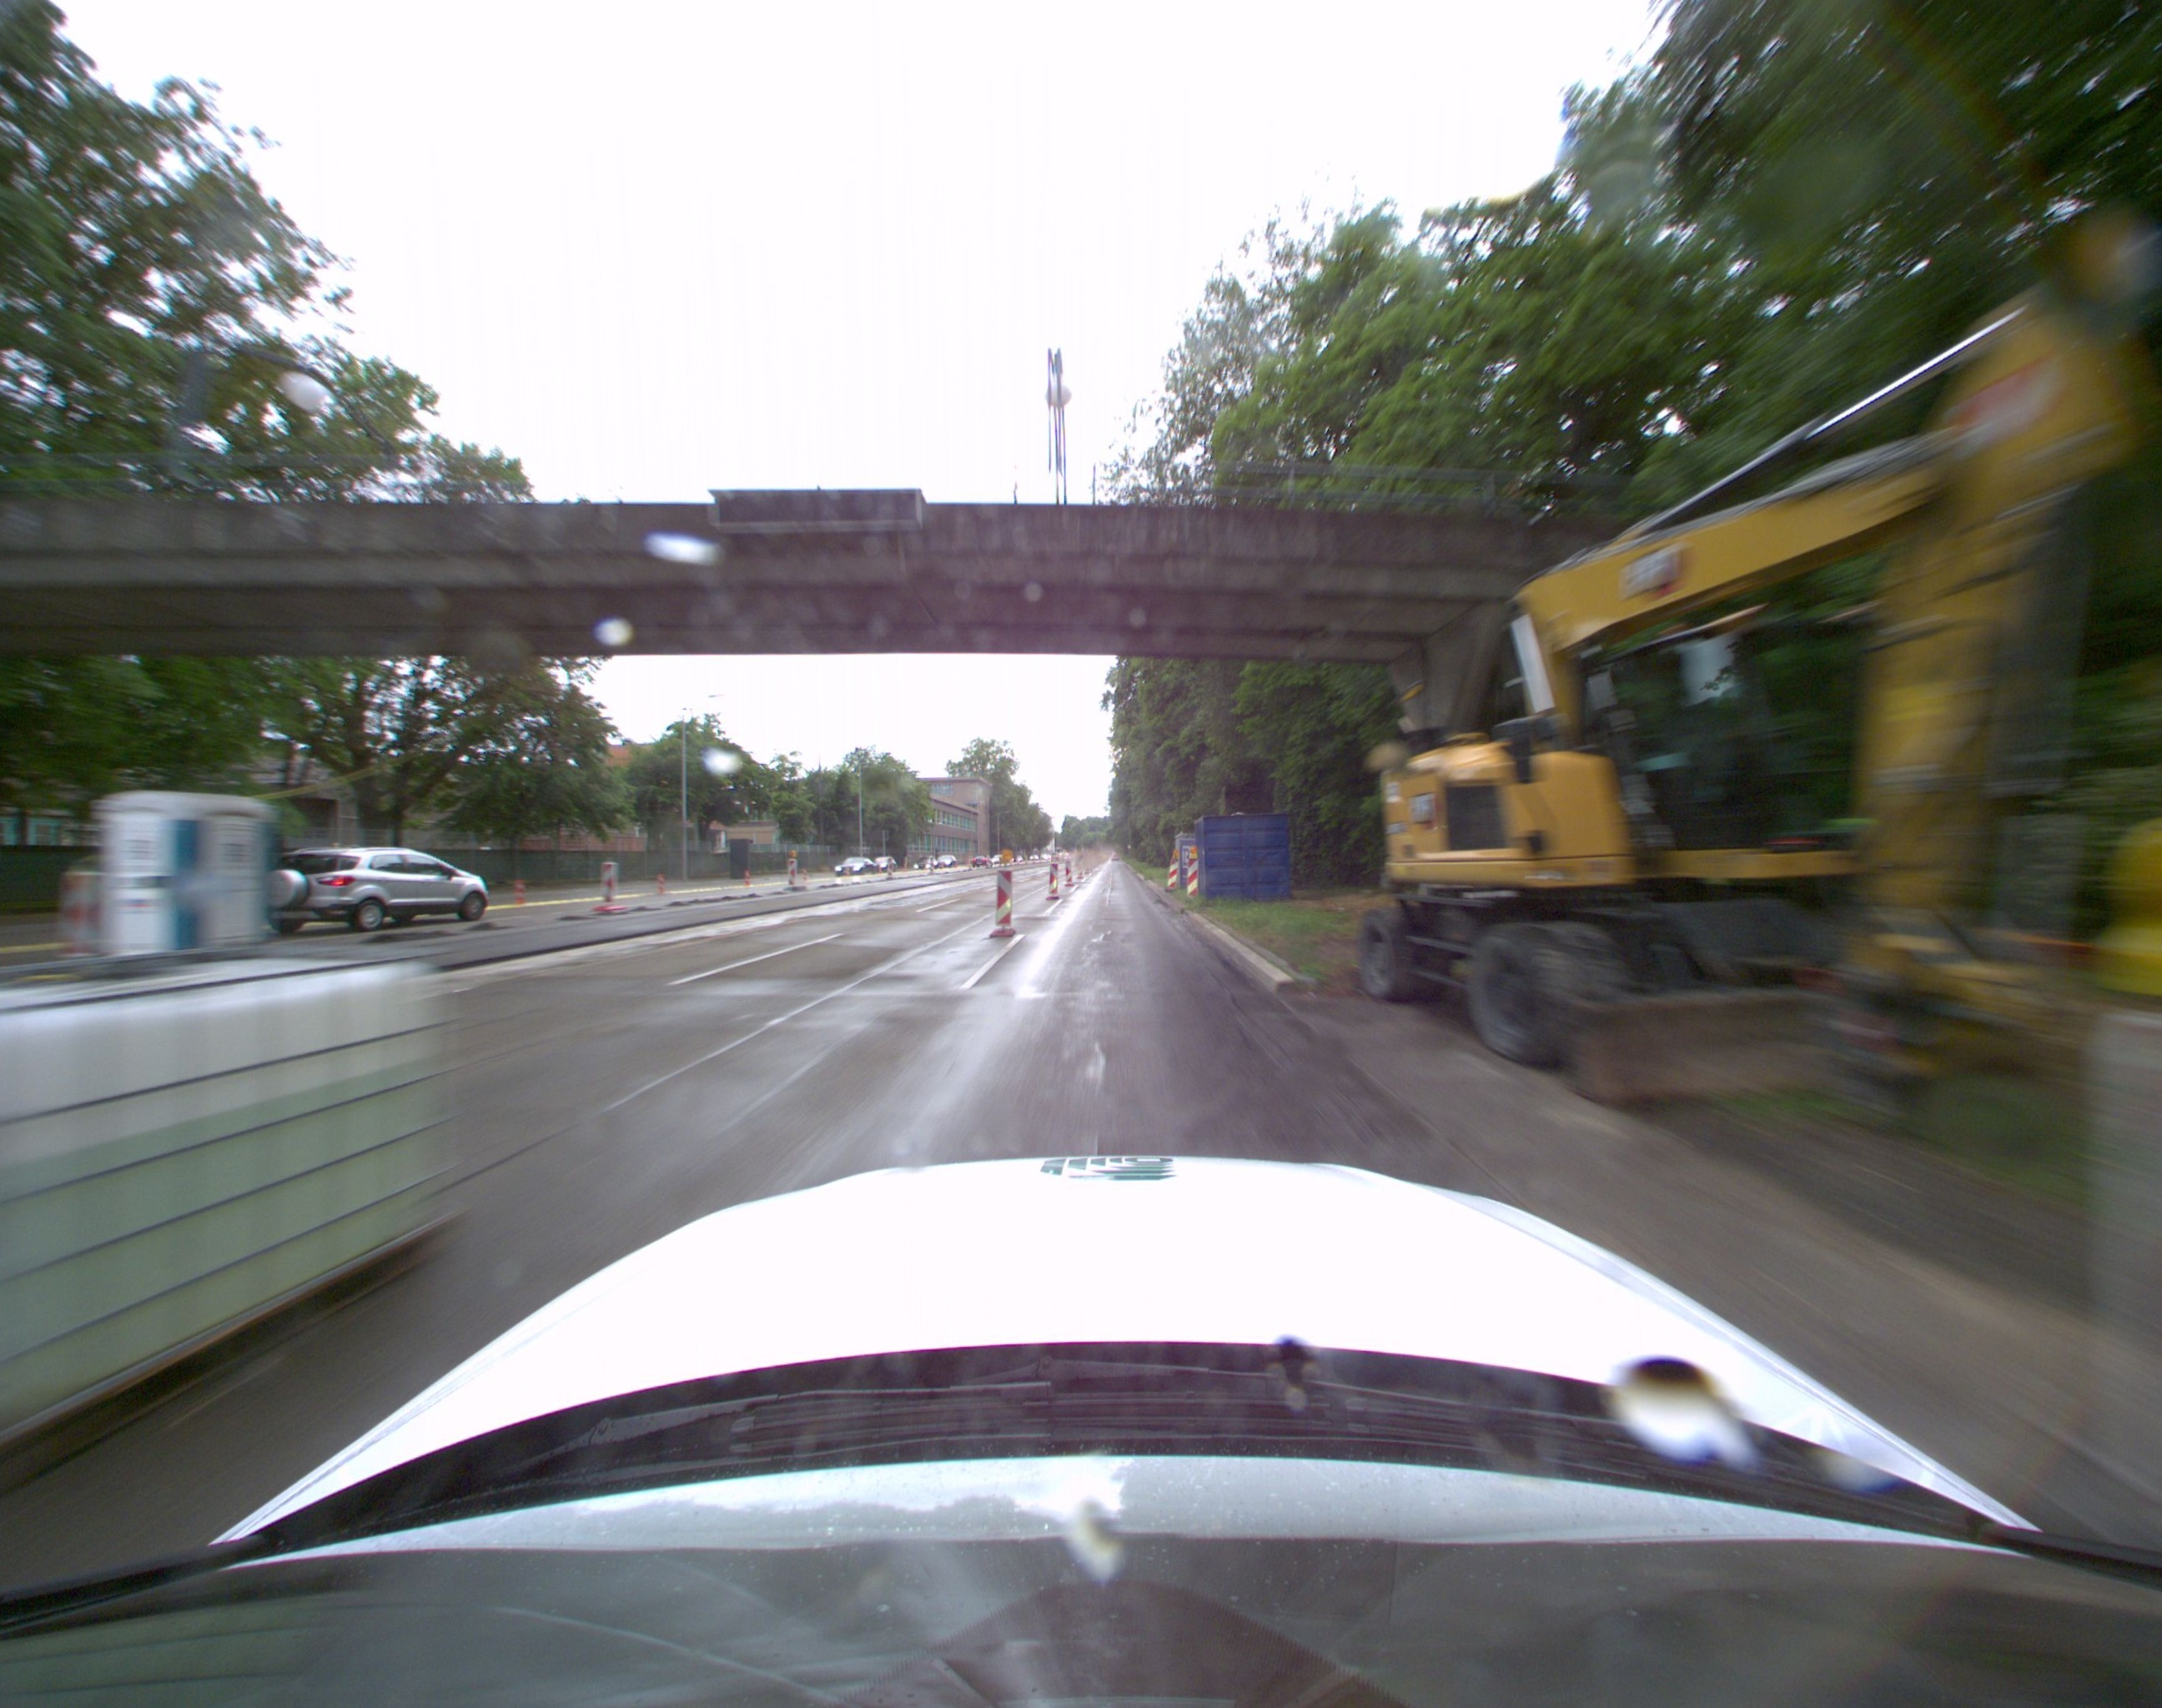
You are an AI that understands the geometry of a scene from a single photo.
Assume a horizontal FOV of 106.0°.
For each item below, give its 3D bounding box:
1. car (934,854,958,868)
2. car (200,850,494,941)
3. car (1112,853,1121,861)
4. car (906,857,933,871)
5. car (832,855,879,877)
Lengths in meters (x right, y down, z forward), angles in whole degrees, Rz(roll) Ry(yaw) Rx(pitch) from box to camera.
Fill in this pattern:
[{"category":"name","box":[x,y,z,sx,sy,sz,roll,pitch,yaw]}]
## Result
[{"category":"car","box":[-14.534,0.780,87.729,1.716,1.442,4.003,-1,0,3]},{"category":"car","box":[-14.406,0.712,16.414,1.882,1.564,4.365,1,0,1]},{"category":"car","box":[8.450,0.699,192.269,1.986,1.640,4.002,-1,0,2]},{"category":"car","box":[-18.132,1.084,91.612,1.963,1.442,4.003,-1,0,3]},{"category":"car","box":[-15.879,0.808,57.565,1.963,1.442,4.003,-1,0,3]}]
